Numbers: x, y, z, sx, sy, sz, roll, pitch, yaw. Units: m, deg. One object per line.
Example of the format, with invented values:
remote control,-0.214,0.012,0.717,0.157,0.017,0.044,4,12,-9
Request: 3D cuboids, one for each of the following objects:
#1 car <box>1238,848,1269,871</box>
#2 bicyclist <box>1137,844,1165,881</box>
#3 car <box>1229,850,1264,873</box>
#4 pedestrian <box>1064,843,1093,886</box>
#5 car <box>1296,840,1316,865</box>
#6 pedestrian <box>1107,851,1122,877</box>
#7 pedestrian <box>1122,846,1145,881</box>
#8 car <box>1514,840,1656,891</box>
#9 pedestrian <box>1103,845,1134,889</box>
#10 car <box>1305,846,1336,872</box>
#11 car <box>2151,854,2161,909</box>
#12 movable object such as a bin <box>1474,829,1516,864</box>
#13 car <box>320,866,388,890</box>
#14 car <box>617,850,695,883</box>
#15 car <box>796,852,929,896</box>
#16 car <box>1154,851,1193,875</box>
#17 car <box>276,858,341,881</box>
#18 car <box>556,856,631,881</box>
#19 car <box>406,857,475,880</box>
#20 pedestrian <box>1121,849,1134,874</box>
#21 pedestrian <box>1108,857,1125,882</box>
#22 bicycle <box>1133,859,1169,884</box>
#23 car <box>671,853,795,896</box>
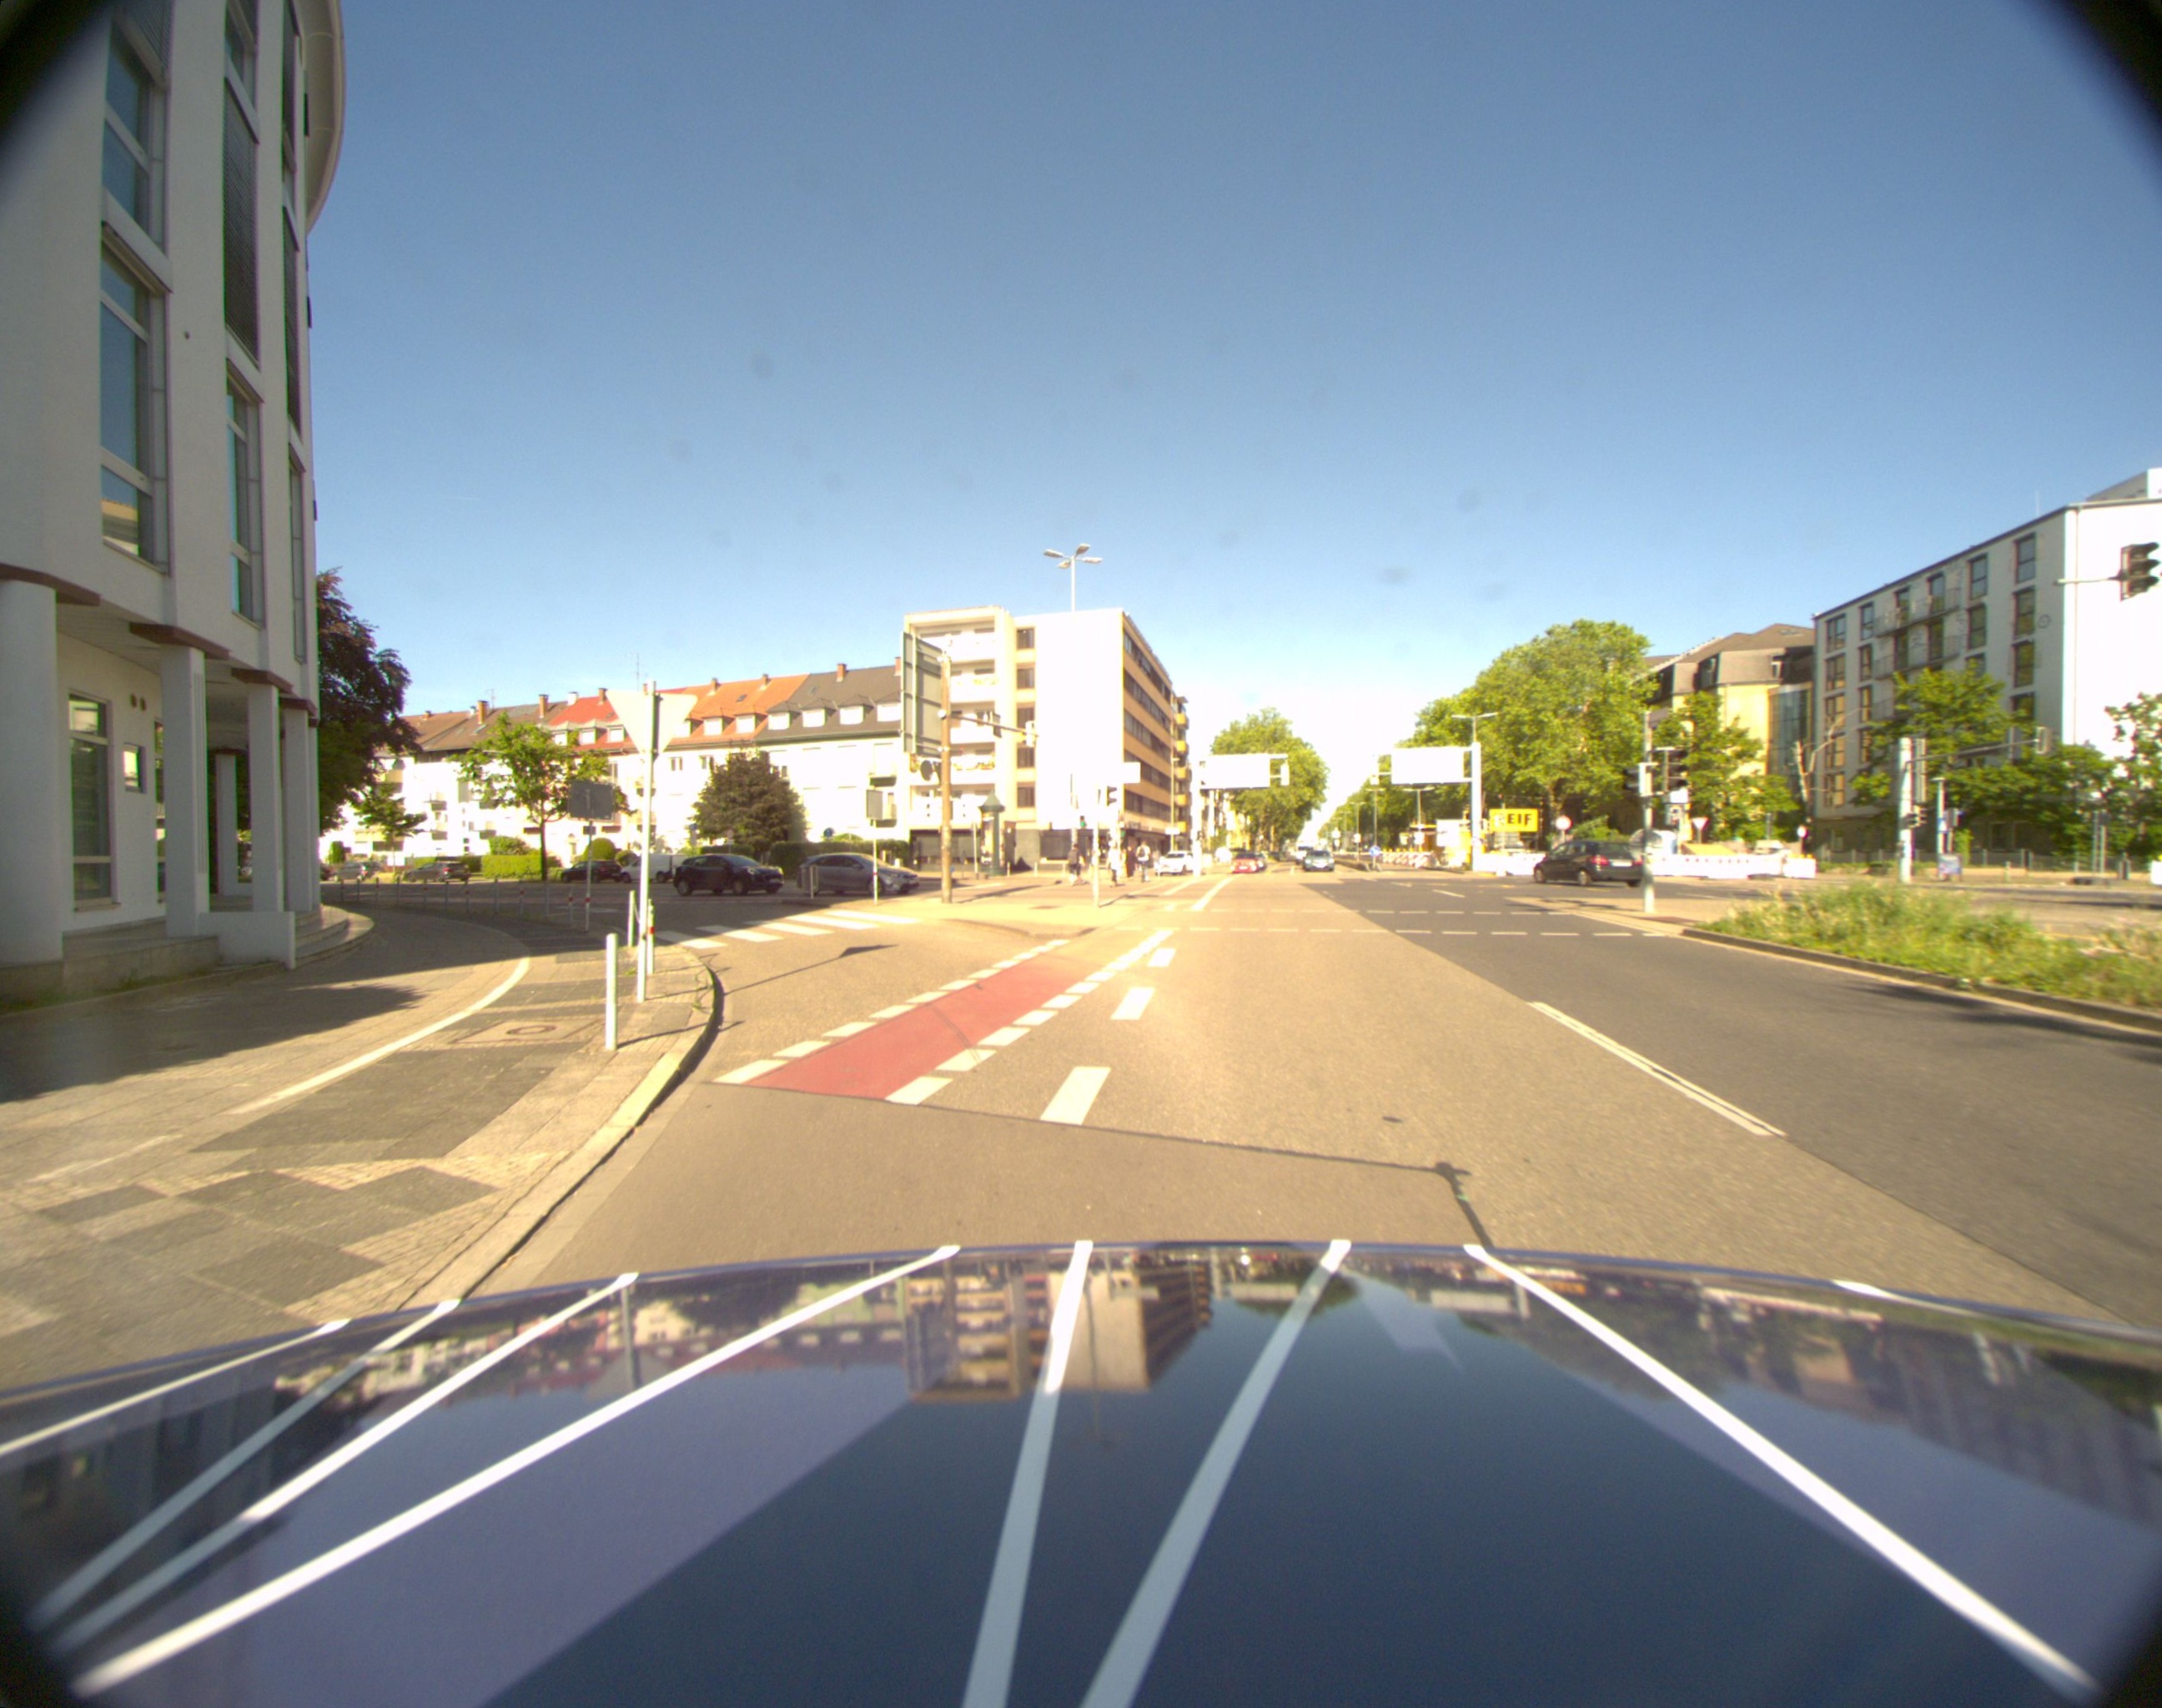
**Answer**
car,13.847,0.403,60.776,1.880,1.511,4.003,-1,3,20
bicyclist,2.922,0.338,31.782,0.868,1.525,0.854,0,2,27
car,11.437,0.486,52.319,1.880,1.510,4.005,-1,1,20
pedestrian,-0.116,0.406,30.122,0.798,1.635,0.982,-3,4,-21
car,23.821,-0.154,80.388,1.881,2.498,4.455,-1,1,15
pedestrian,2.204,0.640,50.094,0.720,1.670,0.695,-3,4,-13
pedestrian,2.517,0.437,36.455,0.896,1.614,0.722,-1,4,23
car,17.210,0.347,26.219,1.862,1.576,4.276,-1,0,-4
pedestrian,1.417,0.489,28.861,0.787,1.599,0.928,-3,4,-21
car,16.638,0.325,52.614,1.880,1.511,4.003,-1,3,20
car,41.443,1.005,26.840,3.994,2.003,2.000,-2,3,8
movable object such as a bin,31.560,-0.632,57.988,1.996,2.462,4.003,-1,3,16
car,-53.628,1.773,56.078,4.158,1.553,1.807,-1,3,19
car,-26.257,0.761,46.960,4.158,1.848,1.807,-1,3,19
car,-7.535,0.674,26.300,4.048,1.400,1.887,-1,1,19
car,6.196,0.602,50.362,1.881,1.510,4.556,-1,-1,15
car,-59.492,1.203,58.535,4.158,1.553,1.807,-1,3,19
car,-31.129,0.950,48.538,4.041,1.422,1.807,-1,3,19
car,-44.811,1.019,53.143,3.996,1.450,1.807,-1,3,19
pedestrian,3.114,0.499,50.903,0.718,1.670,0.697,-1,4,14
pedestrian,1.735,0.756,37.008,0.646,1.196,0.527,-1,4,23
bicycle,2.932,0.715,31.810,0.865,0.984,1.906,-1,0,26
car,-12.870,0.762,28.093,4.066,1.483,1.698,-1,1,19
